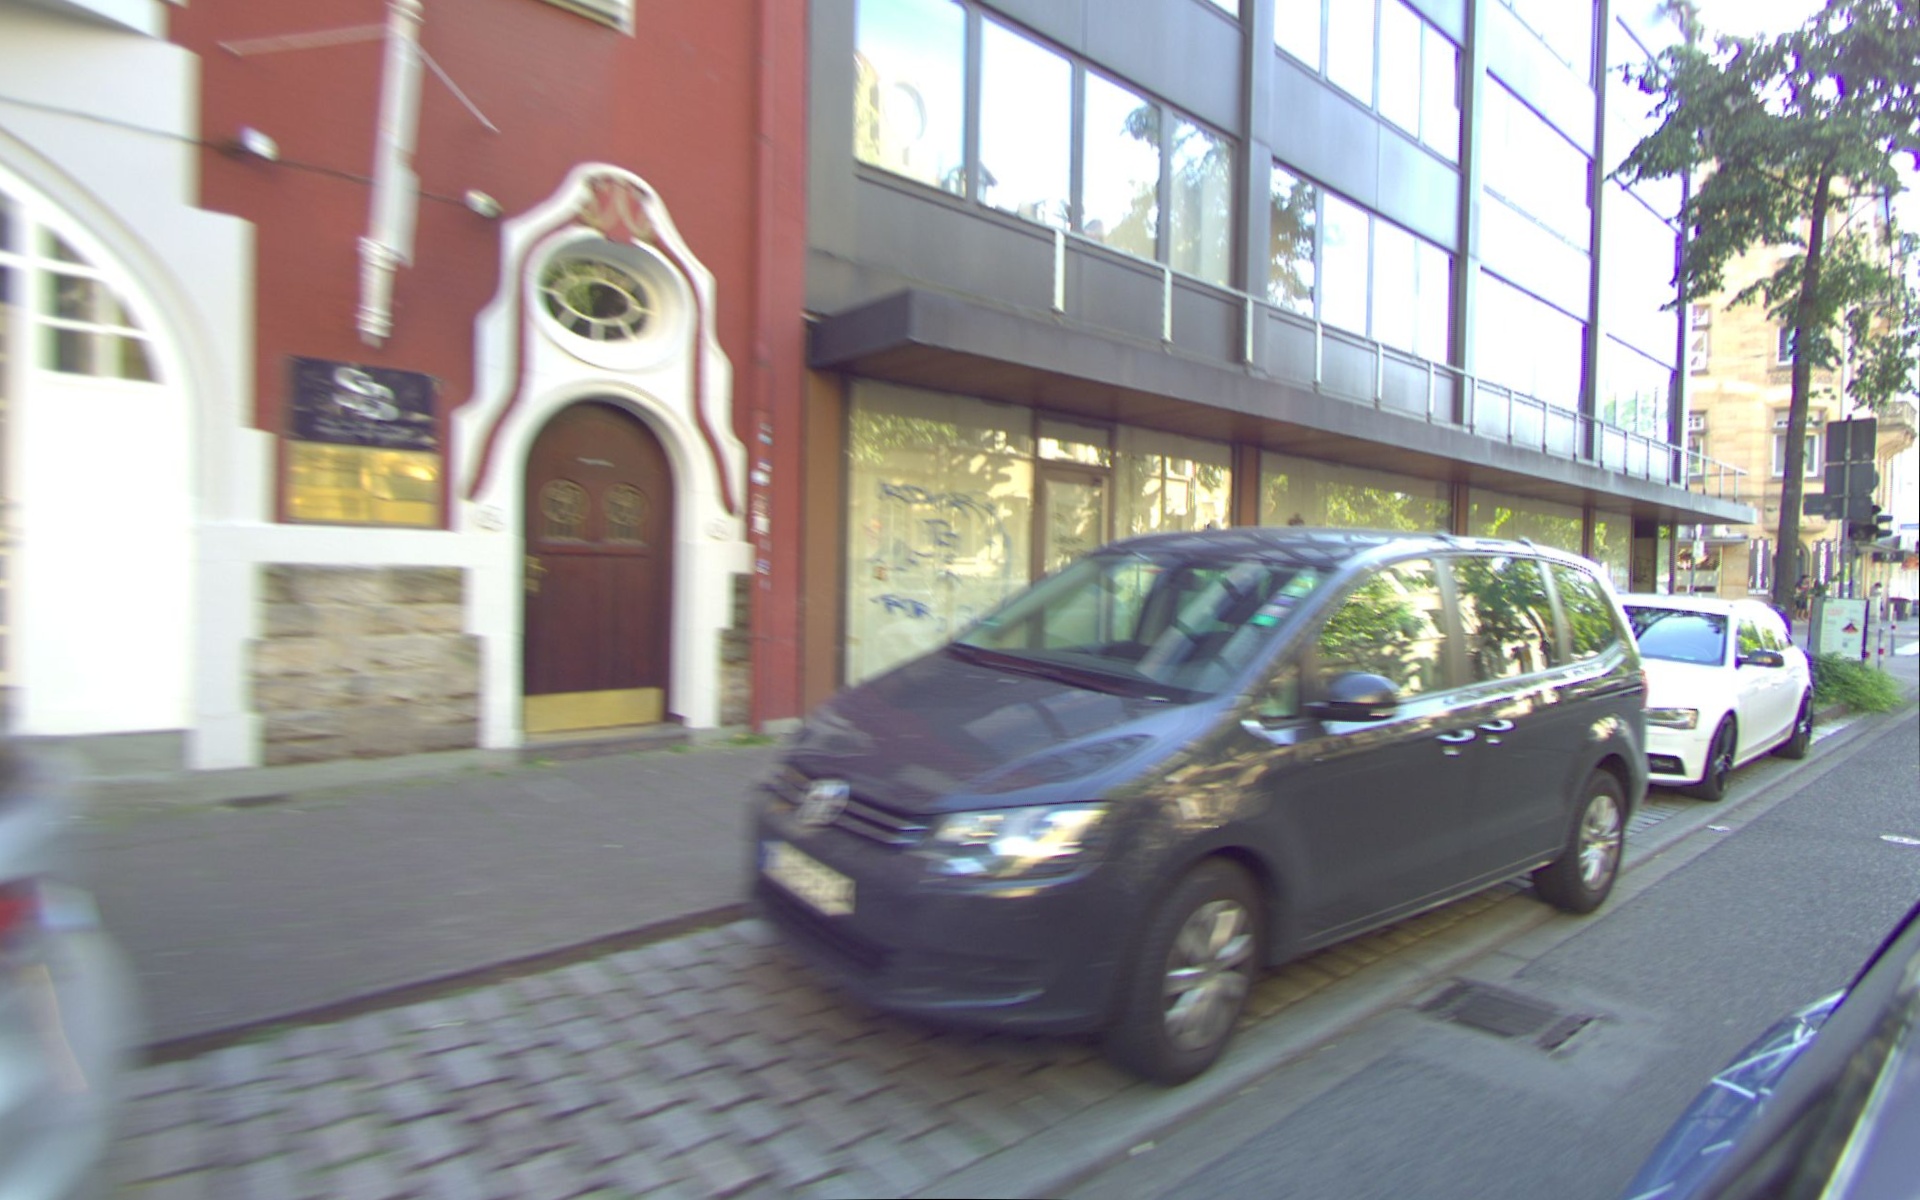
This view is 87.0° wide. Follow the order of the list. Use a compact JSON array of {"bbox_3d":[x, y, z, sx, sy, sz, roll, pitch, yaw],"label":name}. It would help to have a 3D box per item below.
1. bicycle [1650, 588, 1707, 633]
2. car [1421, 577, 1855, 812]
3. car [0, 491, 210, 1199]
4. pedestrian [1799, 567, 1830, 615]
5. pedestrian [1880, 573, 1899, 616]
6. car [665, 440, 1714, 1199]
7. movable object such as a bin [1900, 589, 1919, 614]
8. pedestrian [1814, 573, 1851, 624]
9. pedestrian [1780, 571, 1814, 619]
[{"bbox_3d":[19.781,0.276,27.904,0.564,1.176,1.740,2,1,10],"label":"bicycle"},{"bbox_3d":[6.062,0.586,8.793,4.756,1.419,1.827,0,4,-40],"label":"car"},{"bbox_3d":[-3.467,0.609,0.597,4.757,1.615,1.827,0,4,-41],"label":"car"},{"bbox_3d":[30.750,-0.342,36.405,0.701,1.713,0.500,0,1,-13],"label":"pedestrian"},{"bbox_3d":[38.591,-0.229,42.020,0.588,1.764,0.534,0,1,-45],"label":"pedestrian"},{"bbox_3d":[1.384,0.461,4.541,4.839,1.799,1.828,0,4,-37],"label":"car"},{"bbox_3d":[42.980,0.072,45.543,0.650,1.061,0.727,3,3,-30],"label":"movable object such as a bin"},{"bbox_3d":[29.901,-0.072,34.677,0.663,1.712,0.619,0,3,4],"label":"pedestrian"},{"bbox_3d":[29.767,-0.187,35.995,0.701,1.713,0.621,0,1,-13],"label":"pedestrian"}]
